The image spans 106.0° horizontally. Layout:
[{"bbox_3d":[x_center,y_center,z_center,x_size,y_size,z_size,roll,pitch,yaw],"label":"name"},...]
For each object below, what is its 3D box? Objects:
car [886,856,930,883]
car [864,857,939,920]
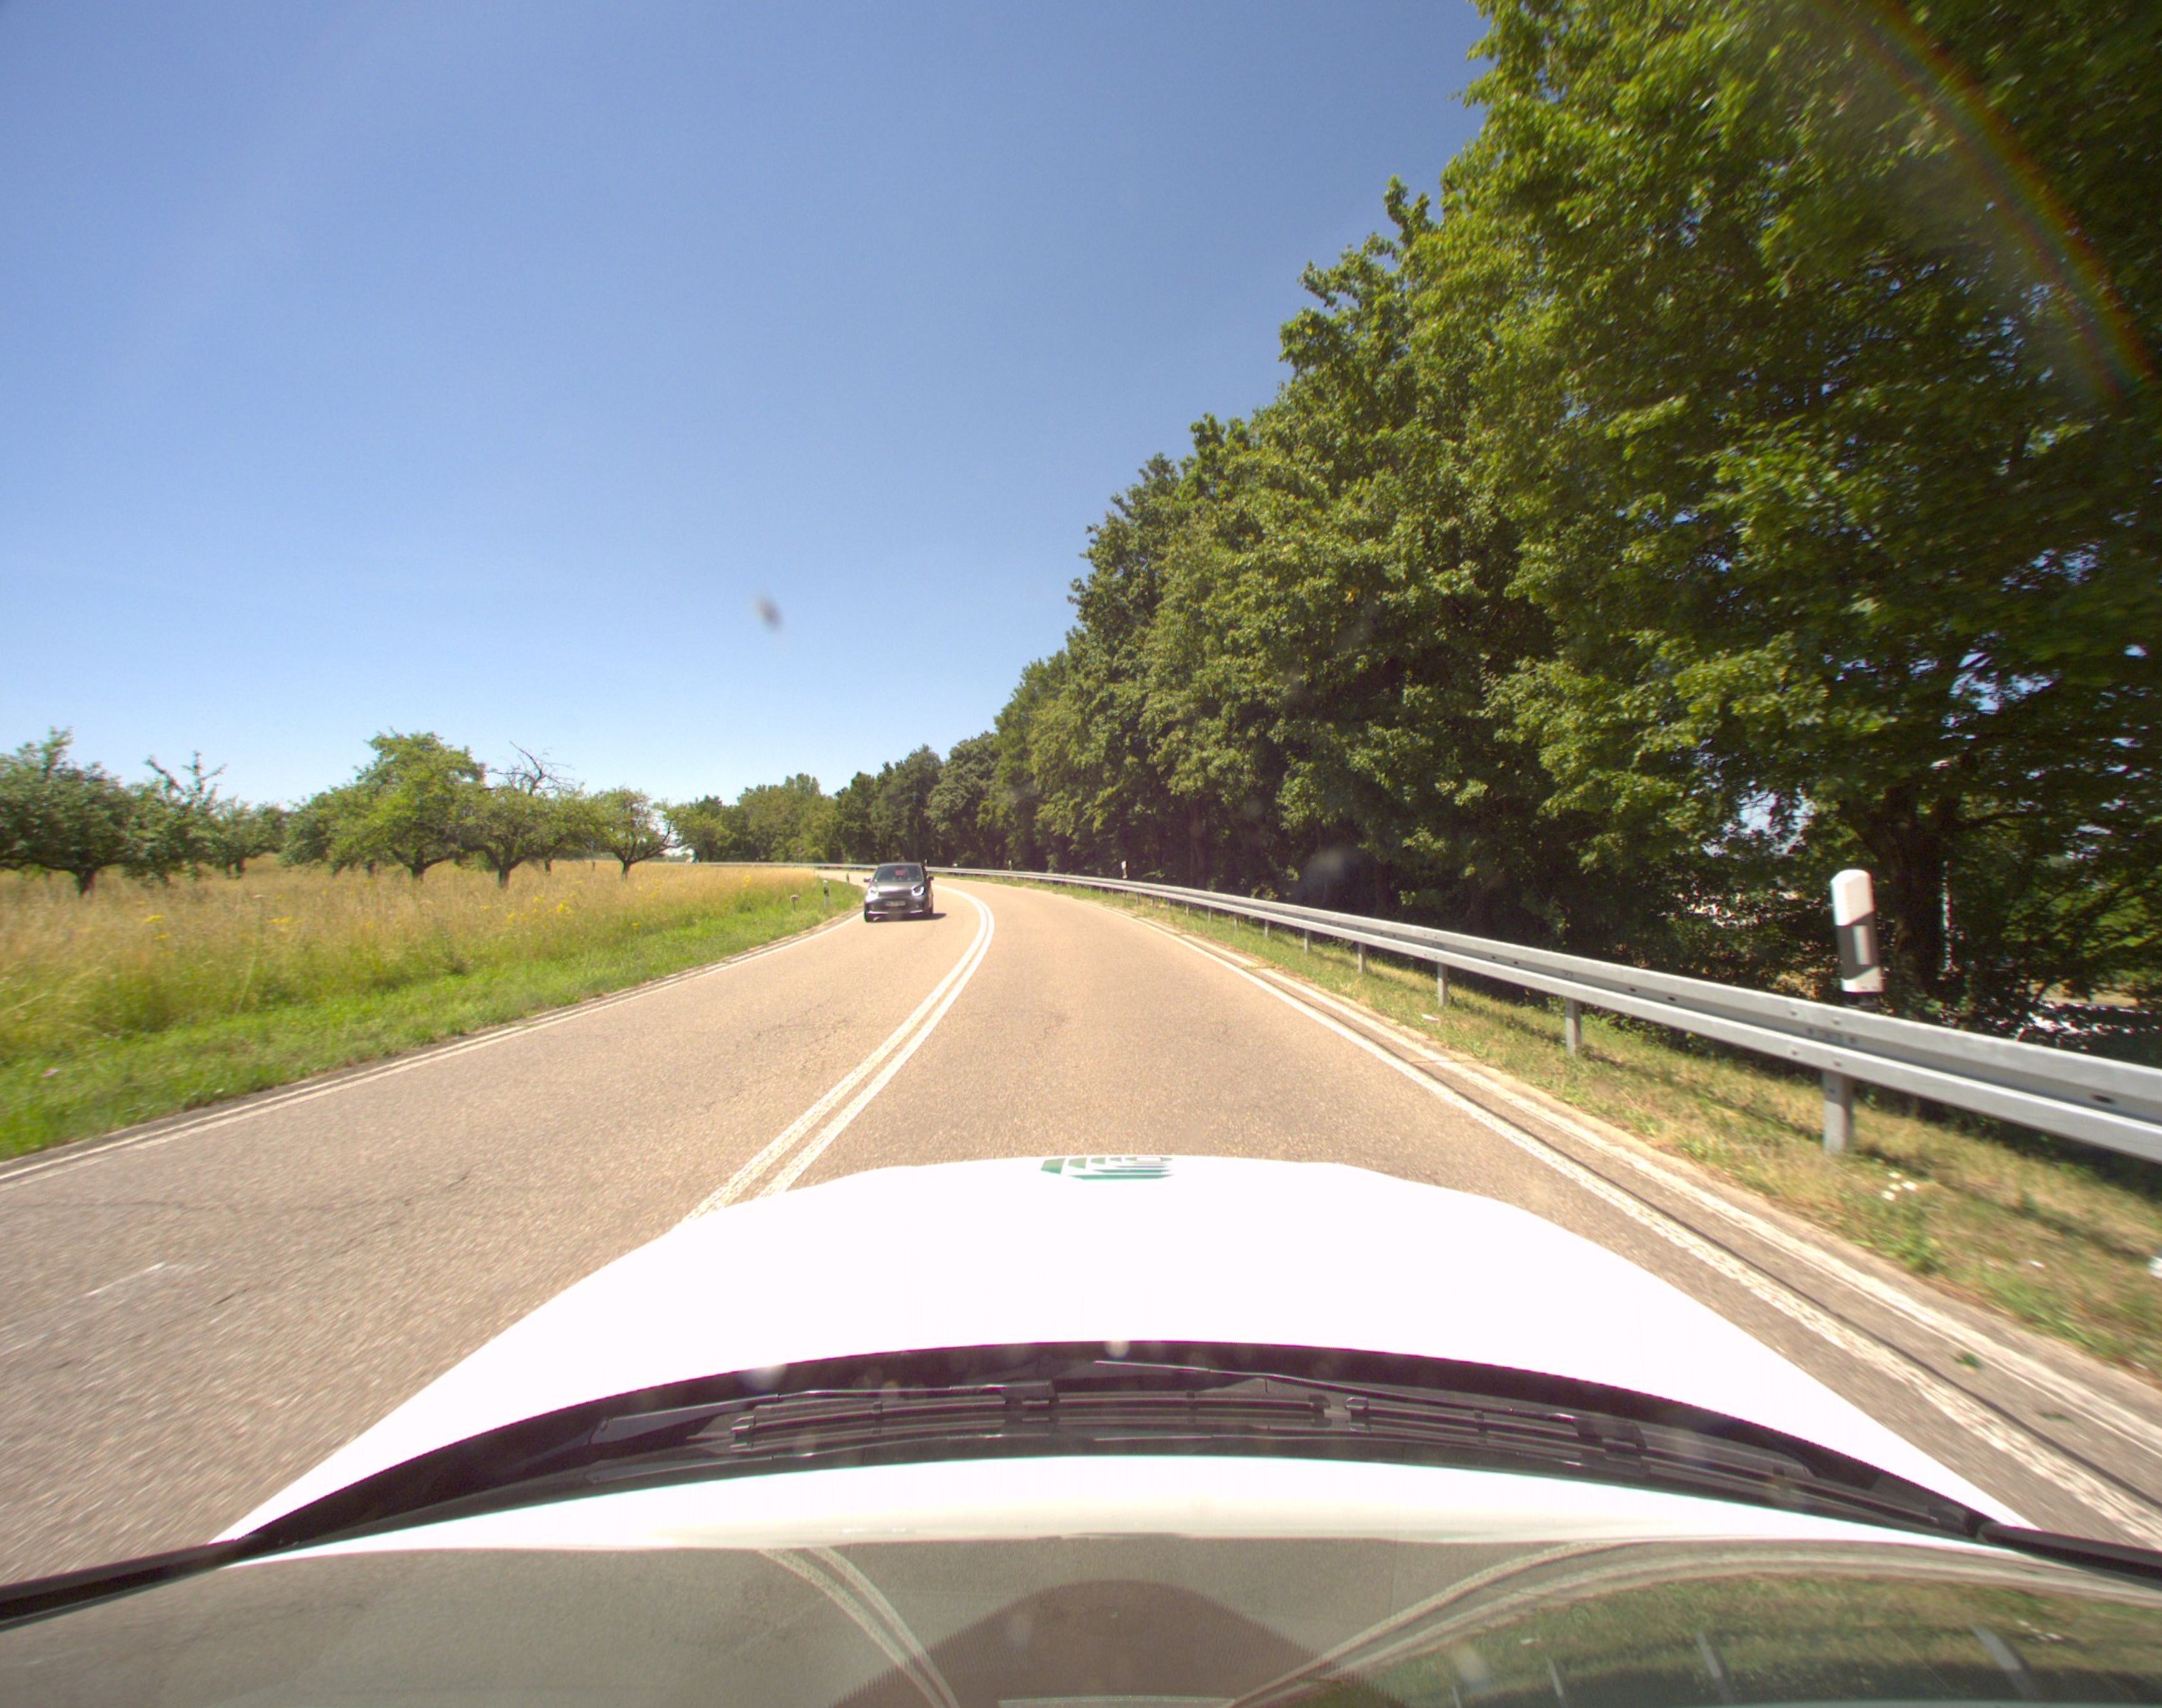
[{"bbox_3d":[-10.690,0.971,50.122,1.830,1.458,4.366,-3,-2,-22],"label":"car"},{"bbox_3d":[-4.951,0.883,22.904,1.734,1.506,4.061,-1,1,-8],"label":"car"}]
